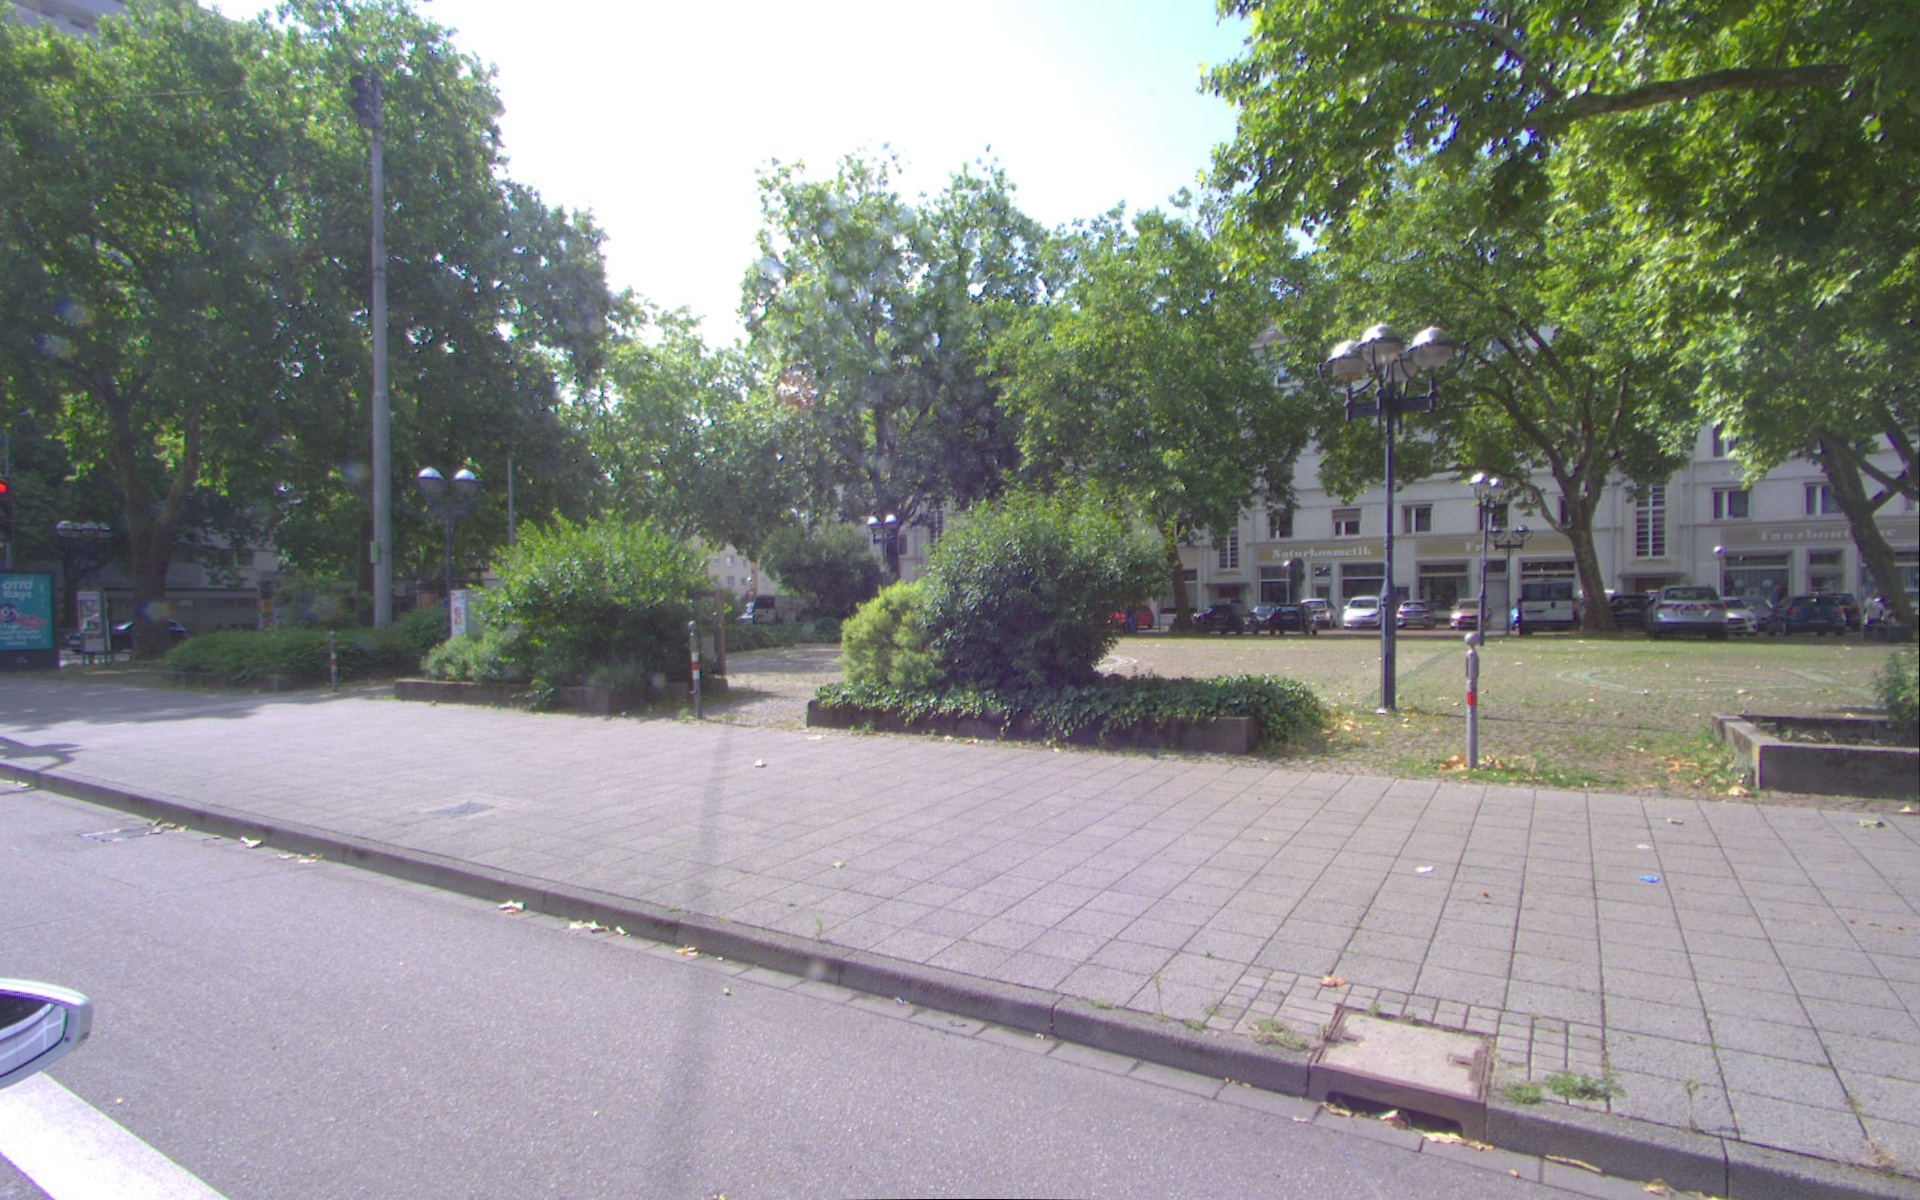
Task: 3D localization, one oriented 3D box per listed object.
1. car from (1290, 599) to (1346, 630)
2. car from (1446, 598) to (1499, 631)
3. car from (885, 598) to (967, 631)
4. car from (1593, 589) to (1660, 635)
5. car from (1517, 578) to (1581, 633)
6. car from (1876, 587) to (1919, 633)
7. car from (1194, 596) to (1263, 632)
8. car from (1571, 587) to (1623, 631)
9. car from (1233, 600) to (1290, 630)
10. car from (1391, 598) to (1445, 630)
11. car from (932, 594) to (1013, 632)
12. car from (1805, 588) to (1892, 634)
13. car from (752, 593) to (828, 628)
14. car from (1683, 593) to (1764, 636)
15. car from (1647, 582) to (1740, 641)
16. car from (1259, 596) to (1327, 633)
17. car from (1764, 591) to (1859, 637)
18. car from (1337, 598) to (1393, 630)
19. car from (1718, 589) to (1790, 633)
[{"bbox_3d":[19.415,0.760,54.147,1.958,1.570,4.415,0,0,32],"label":"car"},{"bbox_3d":[25.858,0.681,50.444,2.008,1.570,4.671,0,0,32],"label":"car"},{"bbox_3d":[-1.806,0.754,55.102,2.161,1.729,4.668,0,0,34],"label":"car"},{"bbox_3d":[25.143,0.419,37.894,1.971,1.615,4.245,0,0,32],"label":"car"},{"bbox_3d":[23.053,0.203,39.136,2.047,2.040,4.245,0,0,32],"label":"car"},{"bbox_3d":[39.586,0.373,41.156,2.161,1.828,4.730,0,0,34],"label":"car"},{"bbox_3d":[12.417,0.617,46.152,1.958,1.541,4.245,0,0,32],"label":"car"},{"bbox_3d":[30.349,0.402,47.751,2.008,1.955,4.671,0,0,32],"label":"car"},{"bbox_3d":[16.781,0.799,55.624,1.958,1.541,4.245,0,0,32],"label":"car"},{"bbox_3d":[23.731,0.703,51.756,1.958,1.570,4.671,0,0,32],"label":"car"},{"bbox_3d":[0.743,0.652,54.035,2.161,1.955,4.668,0,0,34],"label":"car"},{"bbox_3d":[37.629,0.427,42.555,2.161,1.828,4.668,0,0,34],"label":"car"},{"bbox_3d":[-10.149,0.603,60.010,2.048,2.040,4.403,0,0,33],"label":"car"},{"bbox_3d":[27.315,0.499,35.945,1.931,1.440,4.156,0,0,32],"label":"car"},{"bbox_3d":[21.999,0.313,30.178,1.971,1.658,4.143,0,0,32],"label":"car"},{"bbox_3d":[14.899,0.605,44.647,1.958,1.541,4.245,0,0,32],"label":"car"},{"bbox_3d":[30.071,0.455,35.476,1.971,1.544,4.143,0,0,32],"label":"car"},{"bbox_3d":[21.380,0.716,52.717,1.958,1.570,4.671,0,0,32],"label":"car"},{"bbox_3d":[35.277,0.462,44.624,2.161,1.828,4.730,0,0,34],"label":"car"}]
